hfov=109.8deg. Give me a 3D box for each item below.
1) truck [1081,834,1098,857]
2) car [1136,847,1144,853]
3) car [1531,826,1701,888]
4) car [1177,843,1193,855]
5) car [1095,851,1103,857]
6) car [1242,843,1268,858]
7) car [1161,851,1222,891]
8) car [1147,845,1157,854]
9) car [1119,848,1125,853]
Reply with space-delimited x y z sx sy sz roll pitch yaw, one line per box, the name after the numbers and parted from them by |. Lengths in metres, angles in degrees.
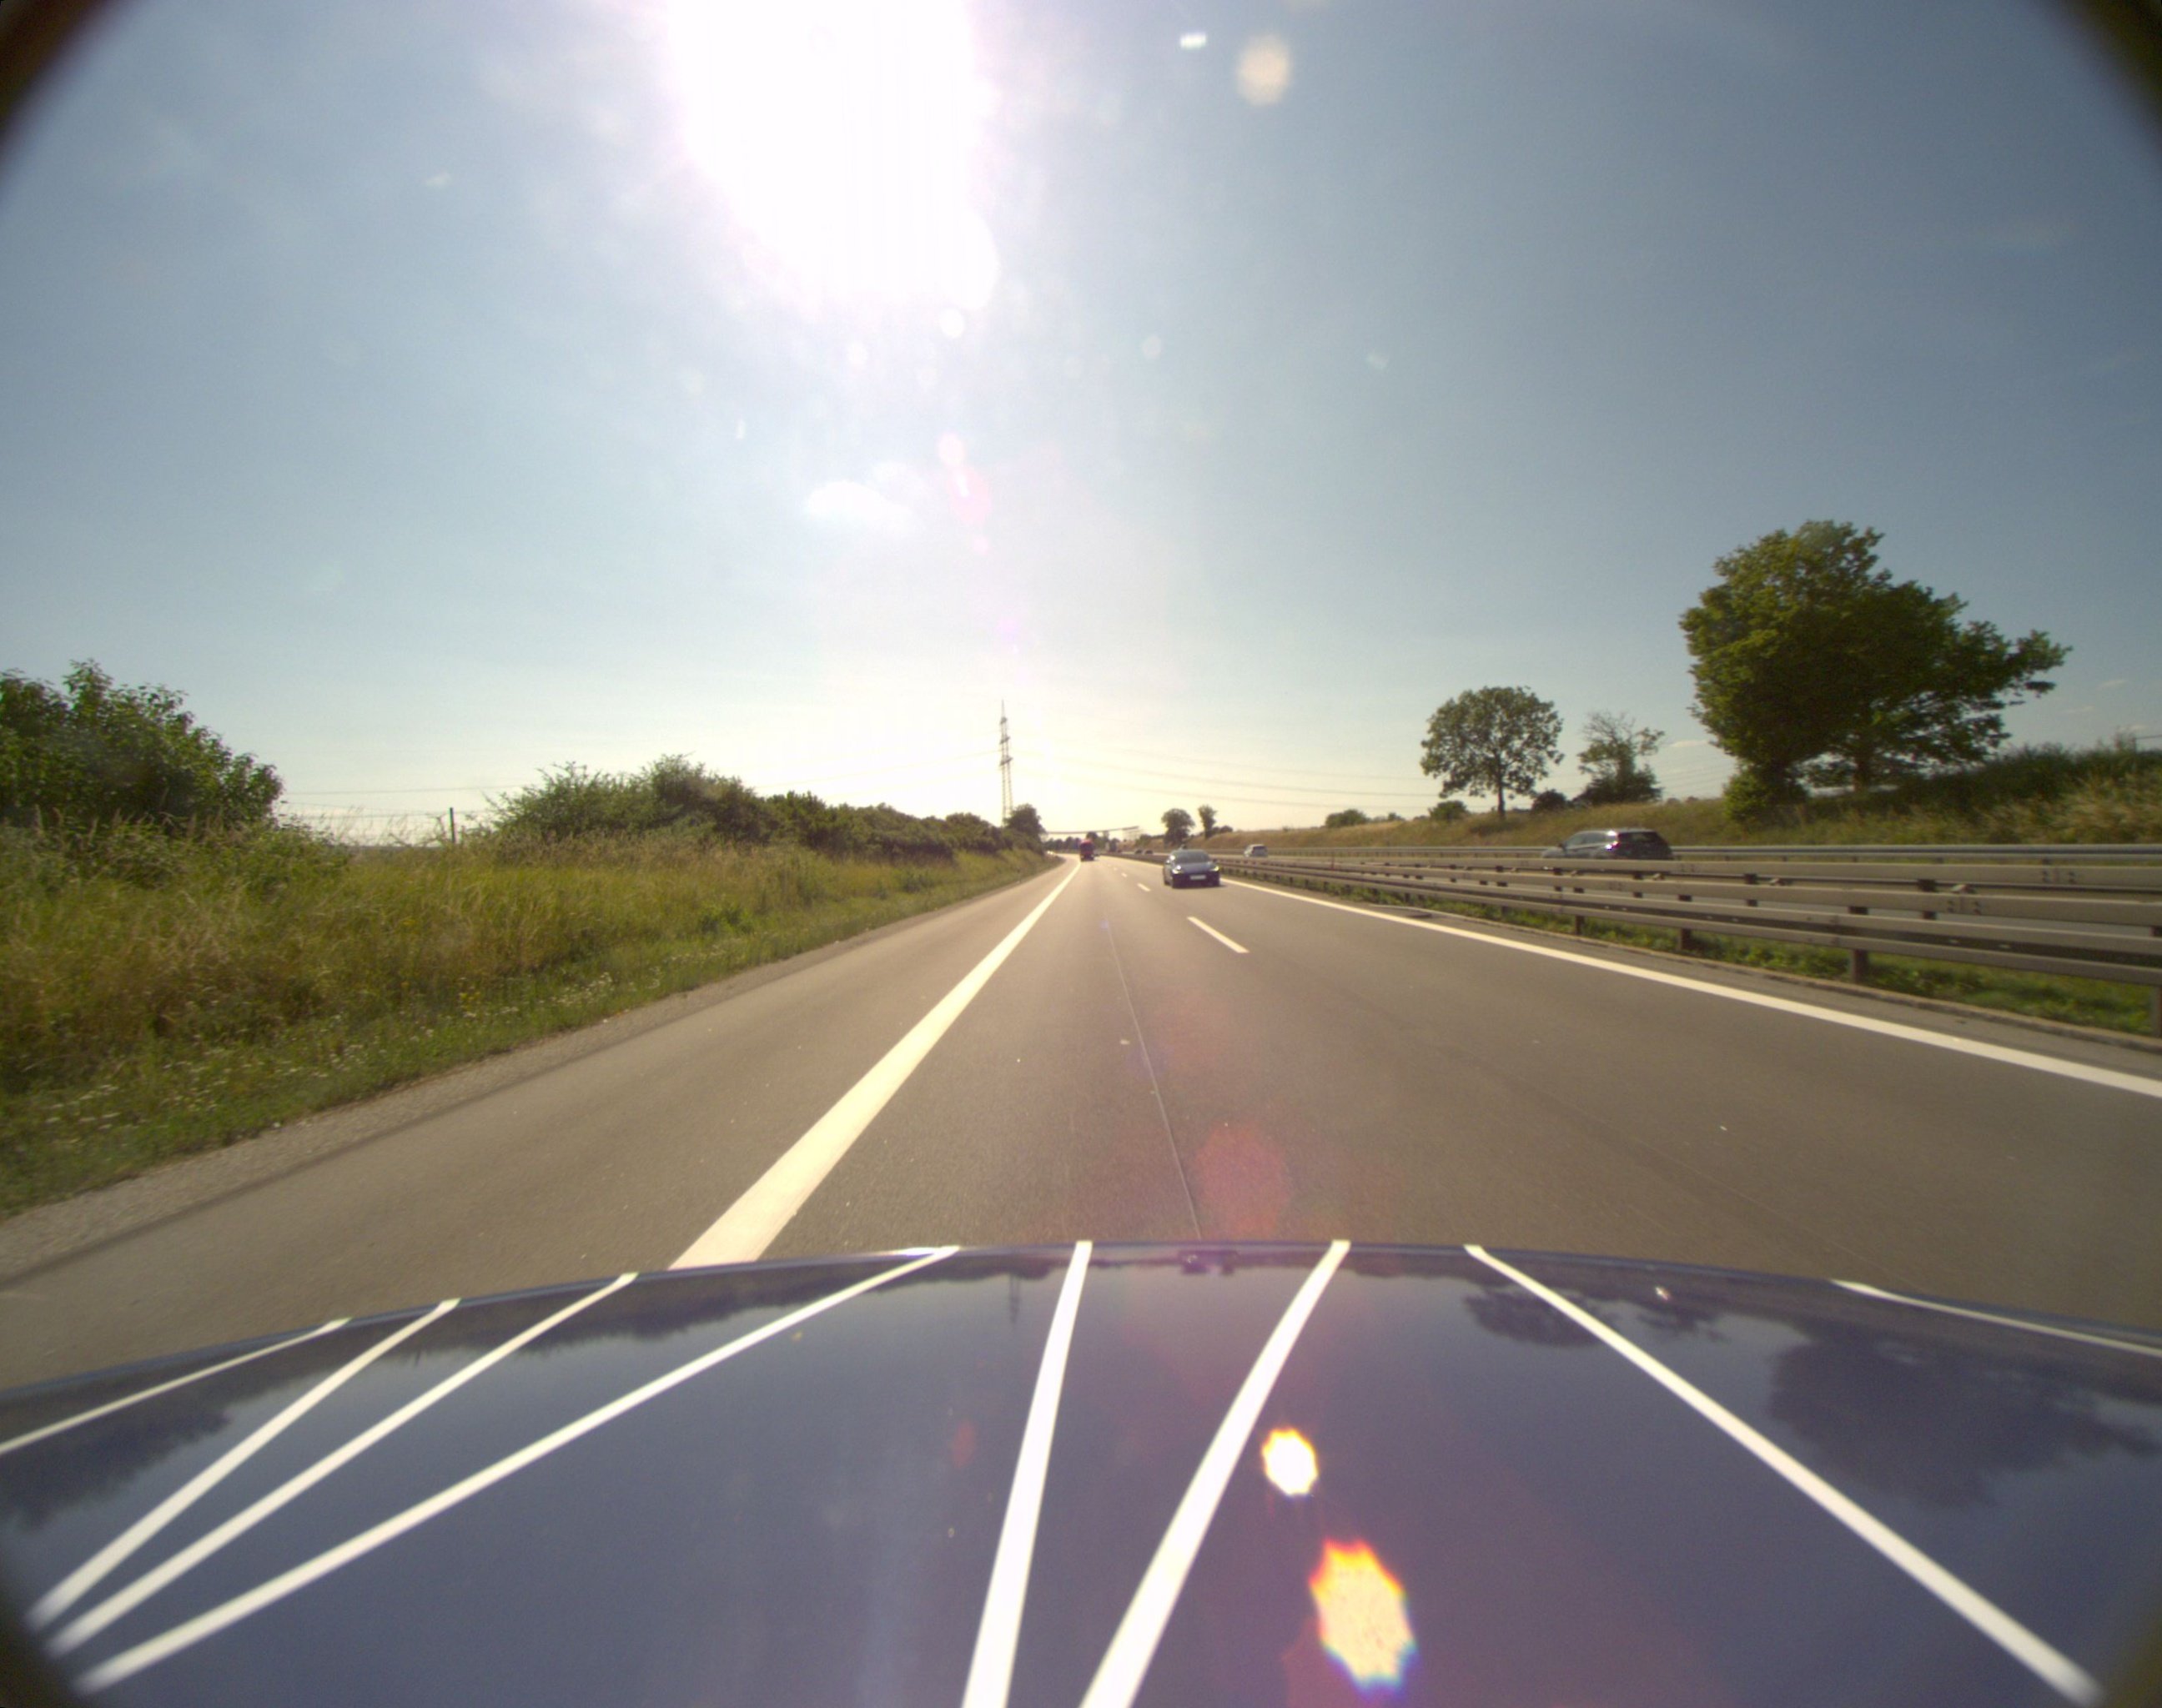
1.528 -1.544 140.575 2.571 3.939 8.642 -4 1 0 | truck
15.865 -1.117 205.556 1.729 1.459 5.241 -4 1 1 | car
16.029 0.063 23.124 1.998 1.602 4.487 -3 0 1 | car
17.189 -0.793 125.540 1.950 1.835 5.183 -4 1 1 | car
4.737 -0.064 201.507 1.860 1.361 3.999 -2 1 1 | car
16.673 -0.340 72.875 1.526 1.344 4.232 -3 0 1 | car
4.447 0.608 31.407 1.852 1.424 5.866 -1 1 2 | car
13.612 -0.909 145.980 1.620 1.522 4.000 -4 1 1 | car
14.191 -1.205 261.861 1.910 1.352 4.553 -4 1 0 | car
